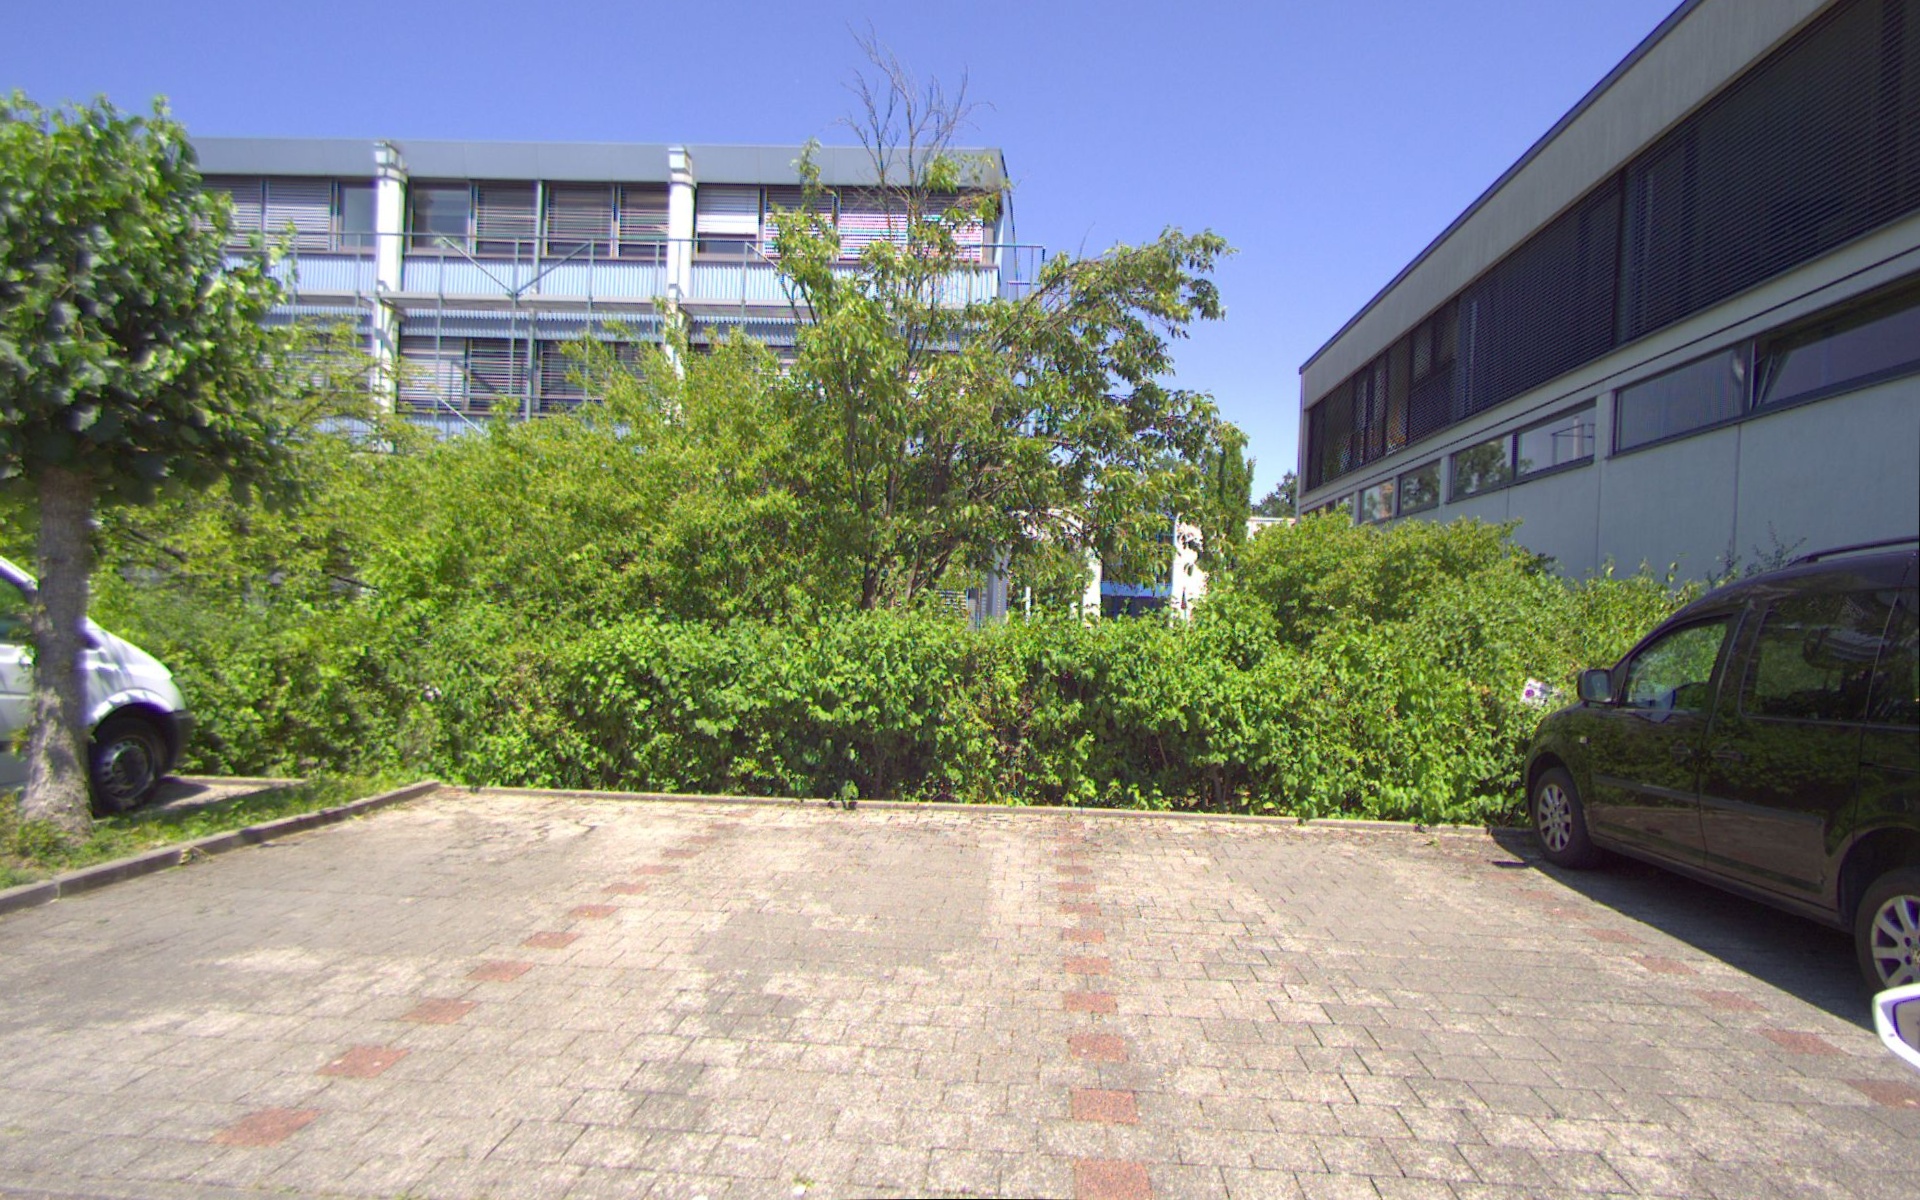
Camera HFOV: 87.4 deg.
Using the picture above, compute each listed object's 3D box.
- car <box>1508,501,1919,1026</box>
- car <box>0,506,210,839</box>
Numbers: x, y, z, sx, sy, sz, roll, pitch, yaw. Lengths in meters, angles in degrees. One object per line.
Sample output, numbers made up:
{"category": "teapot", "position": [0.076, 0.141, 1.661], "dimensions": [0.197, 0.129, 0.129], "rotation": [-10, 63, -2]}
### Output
{"category": "car", "position": [4.431, 0.625, 4.825], "dimensions": [1.645, 1.909, 4.074], "rotation": [1, -1, 5]}
{"category": "car", "position": [-6.499, 0.392, 4.977], "dimensions": [1.793, 1.931, 4.737], "rotation": [1, -1, 3]}
